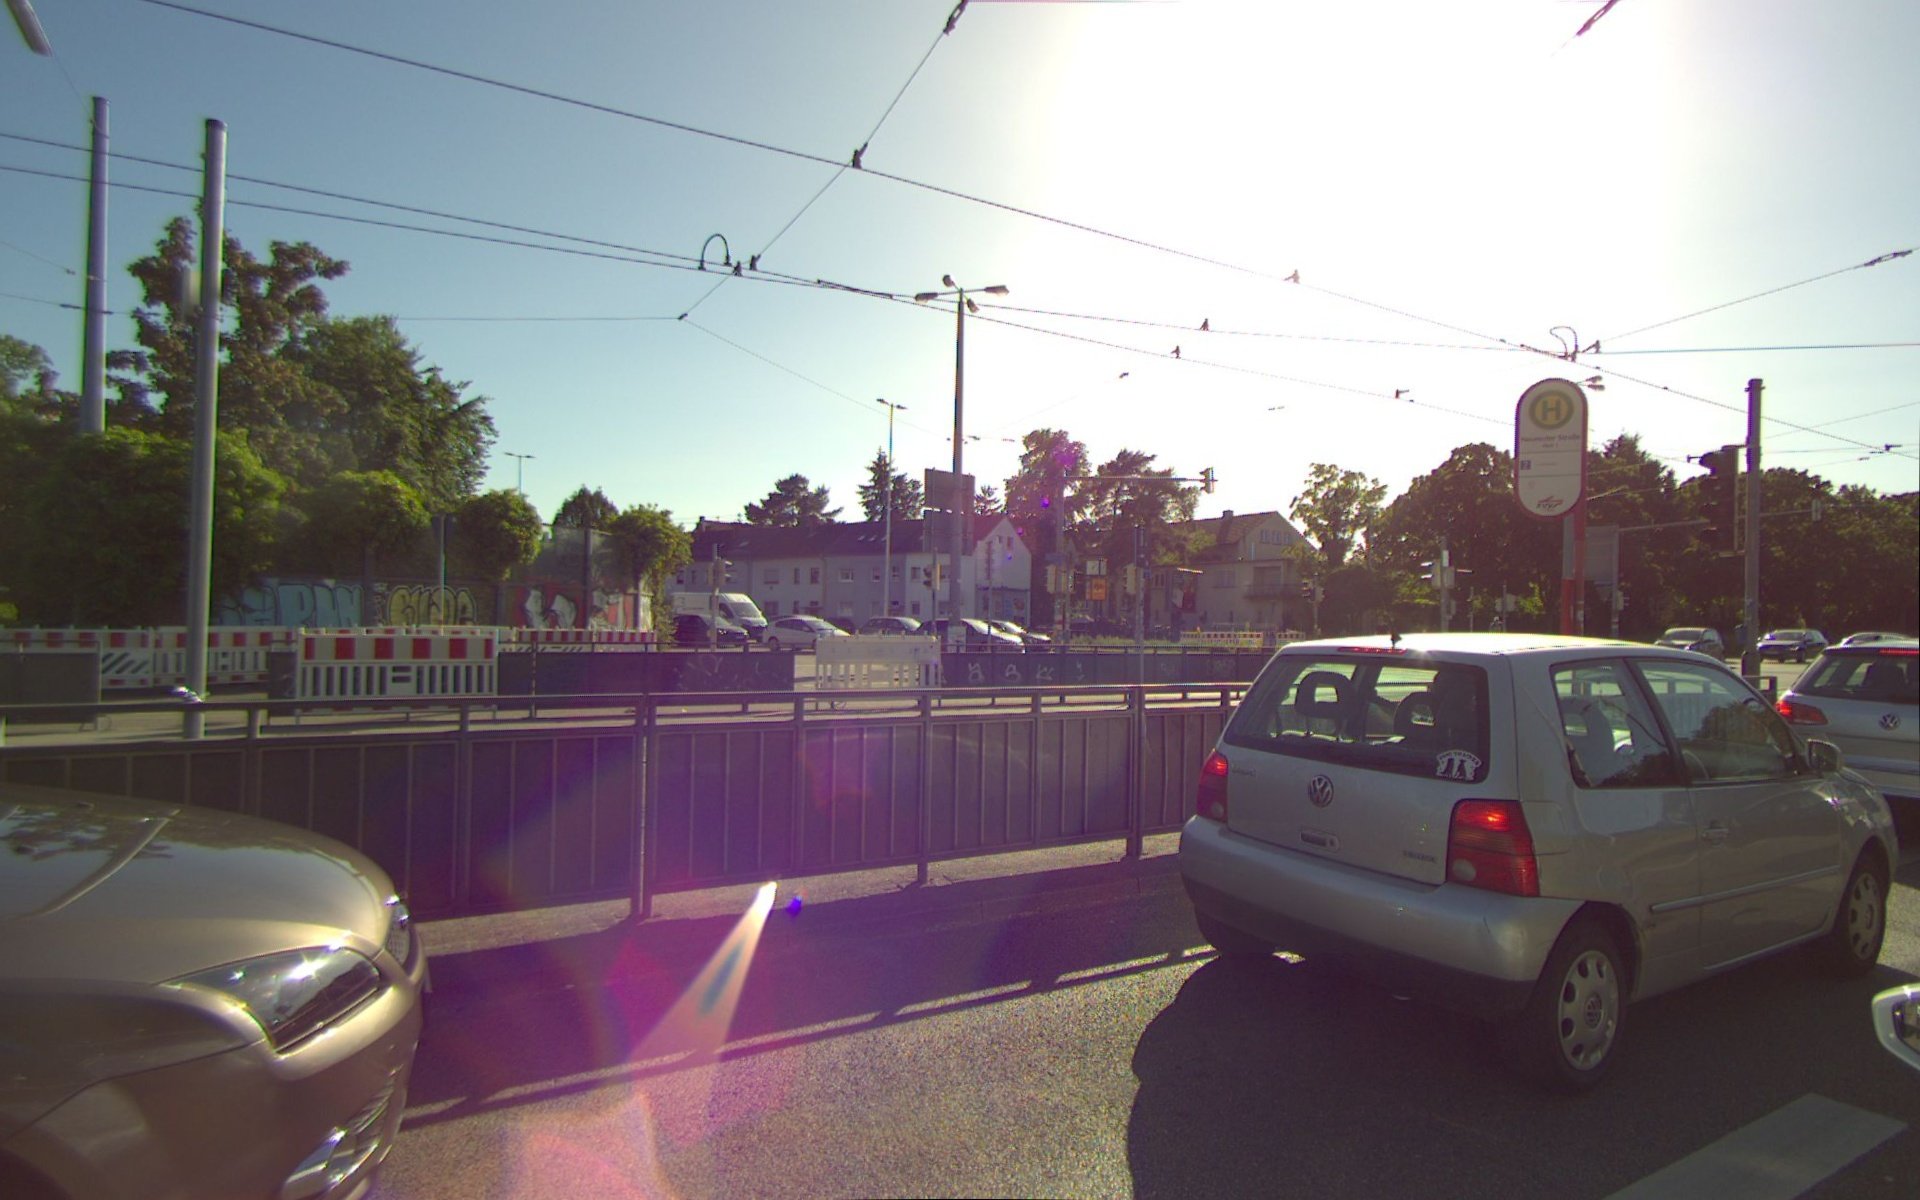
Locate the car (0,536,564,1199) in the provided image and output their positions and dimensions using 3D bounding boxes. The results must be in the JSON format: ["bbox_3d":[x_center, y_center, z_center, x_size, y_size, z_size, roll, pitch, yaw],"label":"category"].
[{"bbox_3d":[-3.001,0.658,1.590,4.150,1.554,1.740,2,-1,-33],"label":"car"}]

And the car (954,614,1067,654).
[{"bbox_3d":[2.017,1.351,40.727,4.175,1.486,1.933,0,-1,32],"label":"car"}]

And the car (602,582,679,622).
[{"bbox_3d":[-17.274,0.118,54.247,3.930,2.040,1.804,0,-1,32],"label":"car"}]

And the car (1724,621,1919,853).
[{"bbox_3d":[8.191,0.974,8.065,4.372,1.548,1.867,2,-1,-32],"label":"car"}]

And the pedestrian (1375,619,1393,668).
[{"bbox_3d":[17.337,1.781,41.067,0.599,1.974,0.776,0,0,16],"label":"pedestrian"}]

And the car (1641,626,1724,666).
[{"bbox_3d":[27.999,1.758,38.900,3.670,1.477,1.670,2,-1,-38],"label":"car"}]

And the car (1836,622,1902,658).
[{"bbox_3d":[45.327,1.961,50.047,3.965,1.710,1.778,2,-1,-37],"label":"car"}]

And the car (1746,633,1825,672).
[{"bbox_3d":[37.534,2.350,45.631,4.651,1.617,1.799,2,-1,-38],"label":"car"}]

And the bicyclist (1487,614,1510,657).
[{"bbox_3d":[20.377,1.339,38.015,0.641,1.629,0.487,1,-1,-31],"label":"bicyclist"}]

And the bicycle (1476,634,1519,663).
[{"bbox_3d":[20.340,1.820,37.998,1.926,1.056,0.504,1,-1,-31],"label":"bicycle"}]

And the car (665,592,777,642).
[{"bbox_3d":[-12.213,0.861,51.137,5.823,2.443,2.175,0,-1,34],"label":"car"}]

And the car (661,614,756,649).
[{"bbox_3d":[-11.604,1.434,46.287,4.185,1.485,1.934,0,-1,32],"label":"car"}]

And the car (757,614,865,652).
[{"bbox_3d":[-6.265,1.377,42.143,4.290,1.485,1.934,0,-1,32],"label":"car"}]

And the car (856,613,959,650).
[{"bbox_3d":[-2.336,1.346,44.086,4.185,1.486,1.933,0,0,32],"label":"car"}]

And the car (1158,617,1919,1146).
[{"bbox_3d":[2.676,0.854,4.444,3.376,1.487,1.573,2,-1,-32],"label":"car"}]

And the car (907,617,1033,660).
[{"bbox_3d":[0.331,1.403,37.814,4.556,1.496,1.668,0,-1,32],"label":"car"}]
